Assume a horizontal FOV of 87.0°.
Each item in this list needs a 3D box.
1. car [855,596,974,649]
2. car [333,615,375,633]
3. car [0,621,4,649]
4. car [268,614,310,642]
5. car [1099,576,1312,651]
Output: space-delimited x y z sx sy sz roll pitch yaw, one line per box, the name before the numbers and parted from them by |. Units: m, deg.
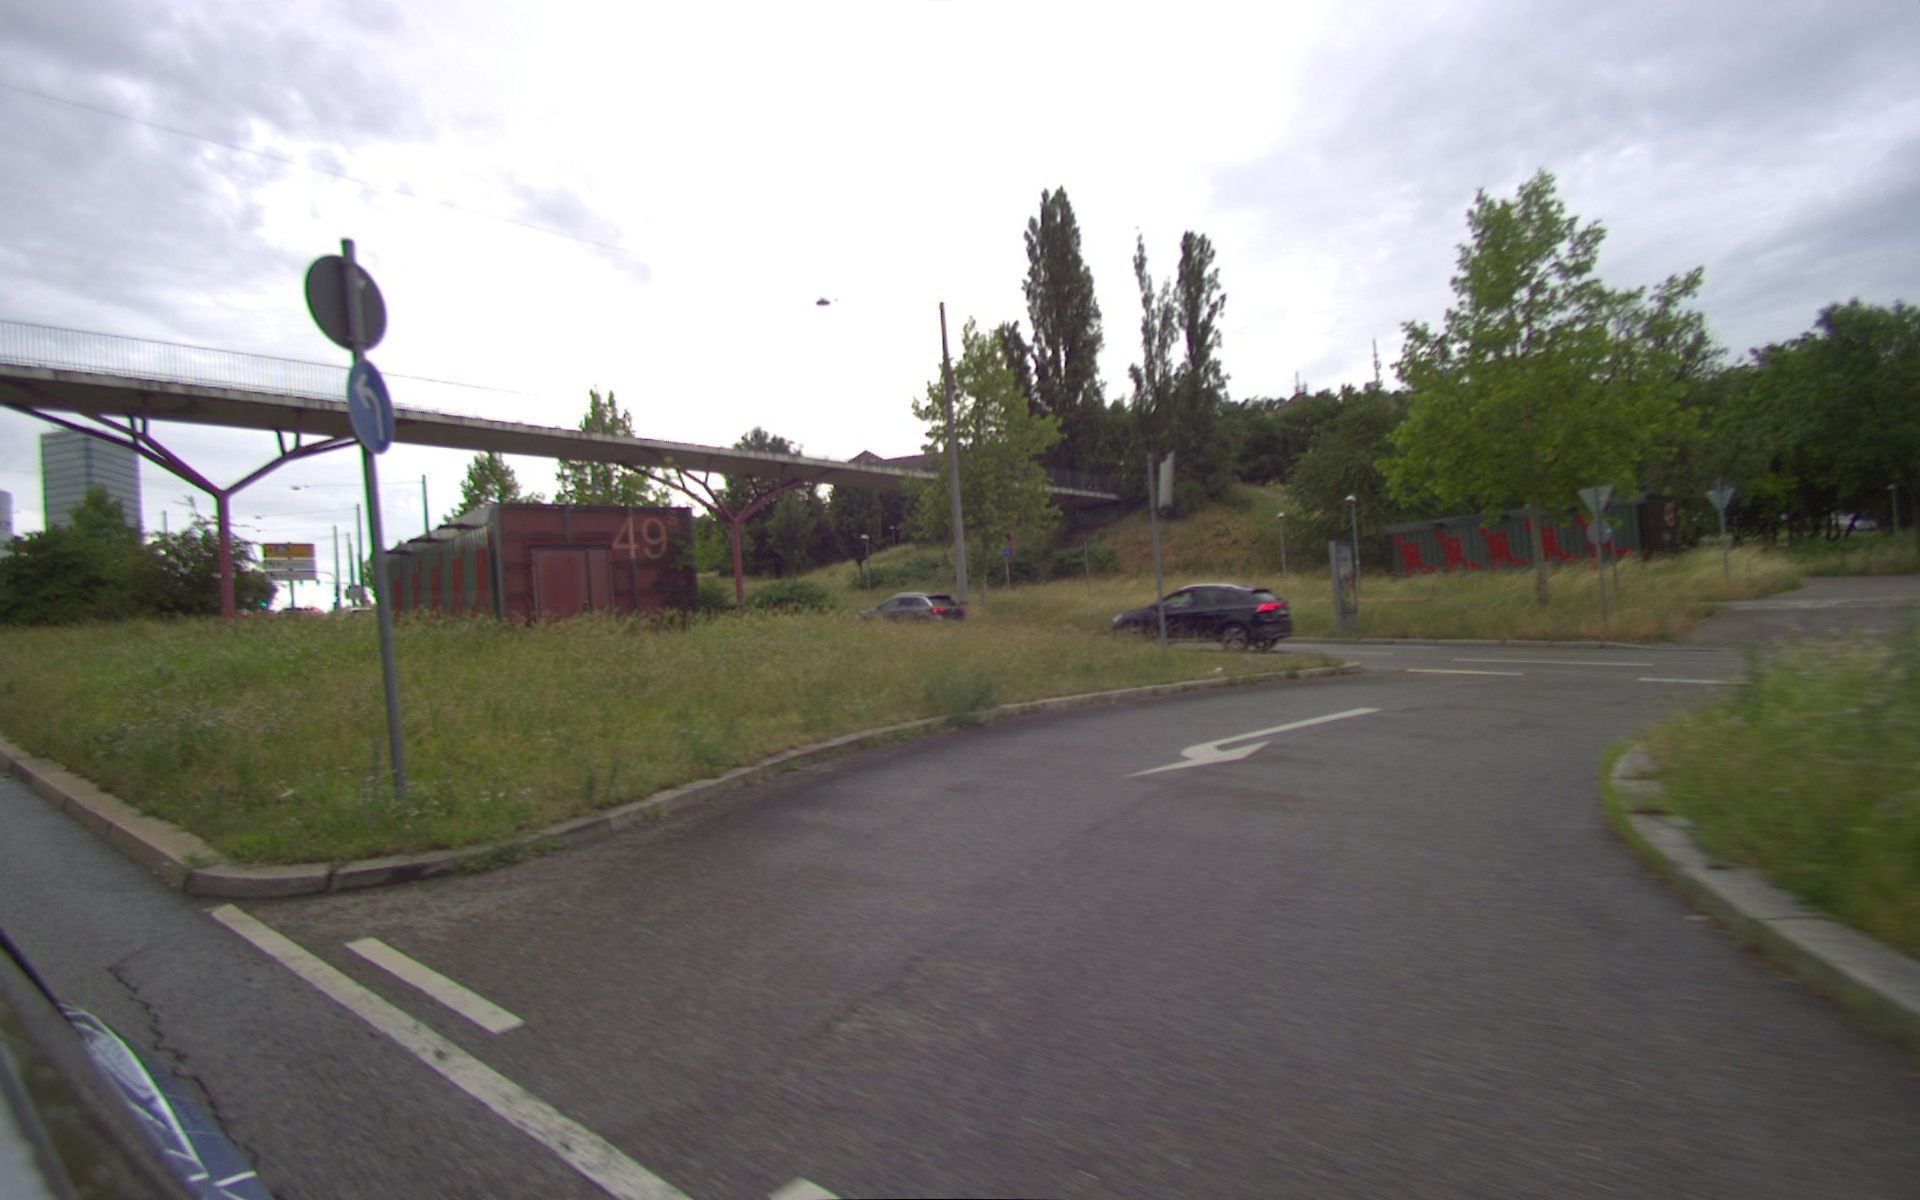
car | -1.572 0.752 34.080 3.786 1.585 1.641 -2 3 38
car | -38.186 1.500 63.768 3.082 0.951 1.254 1 5 38
car | -62.021 2.291 63.828 1.967 1.785 4.010 -2 0 -36
car | -55.348 2.293 83.427 4.001 2.028 1.972 -1 3 44
car | 5.528 0.338 23.127 4.433 1.539 1.639 -3 0 42
